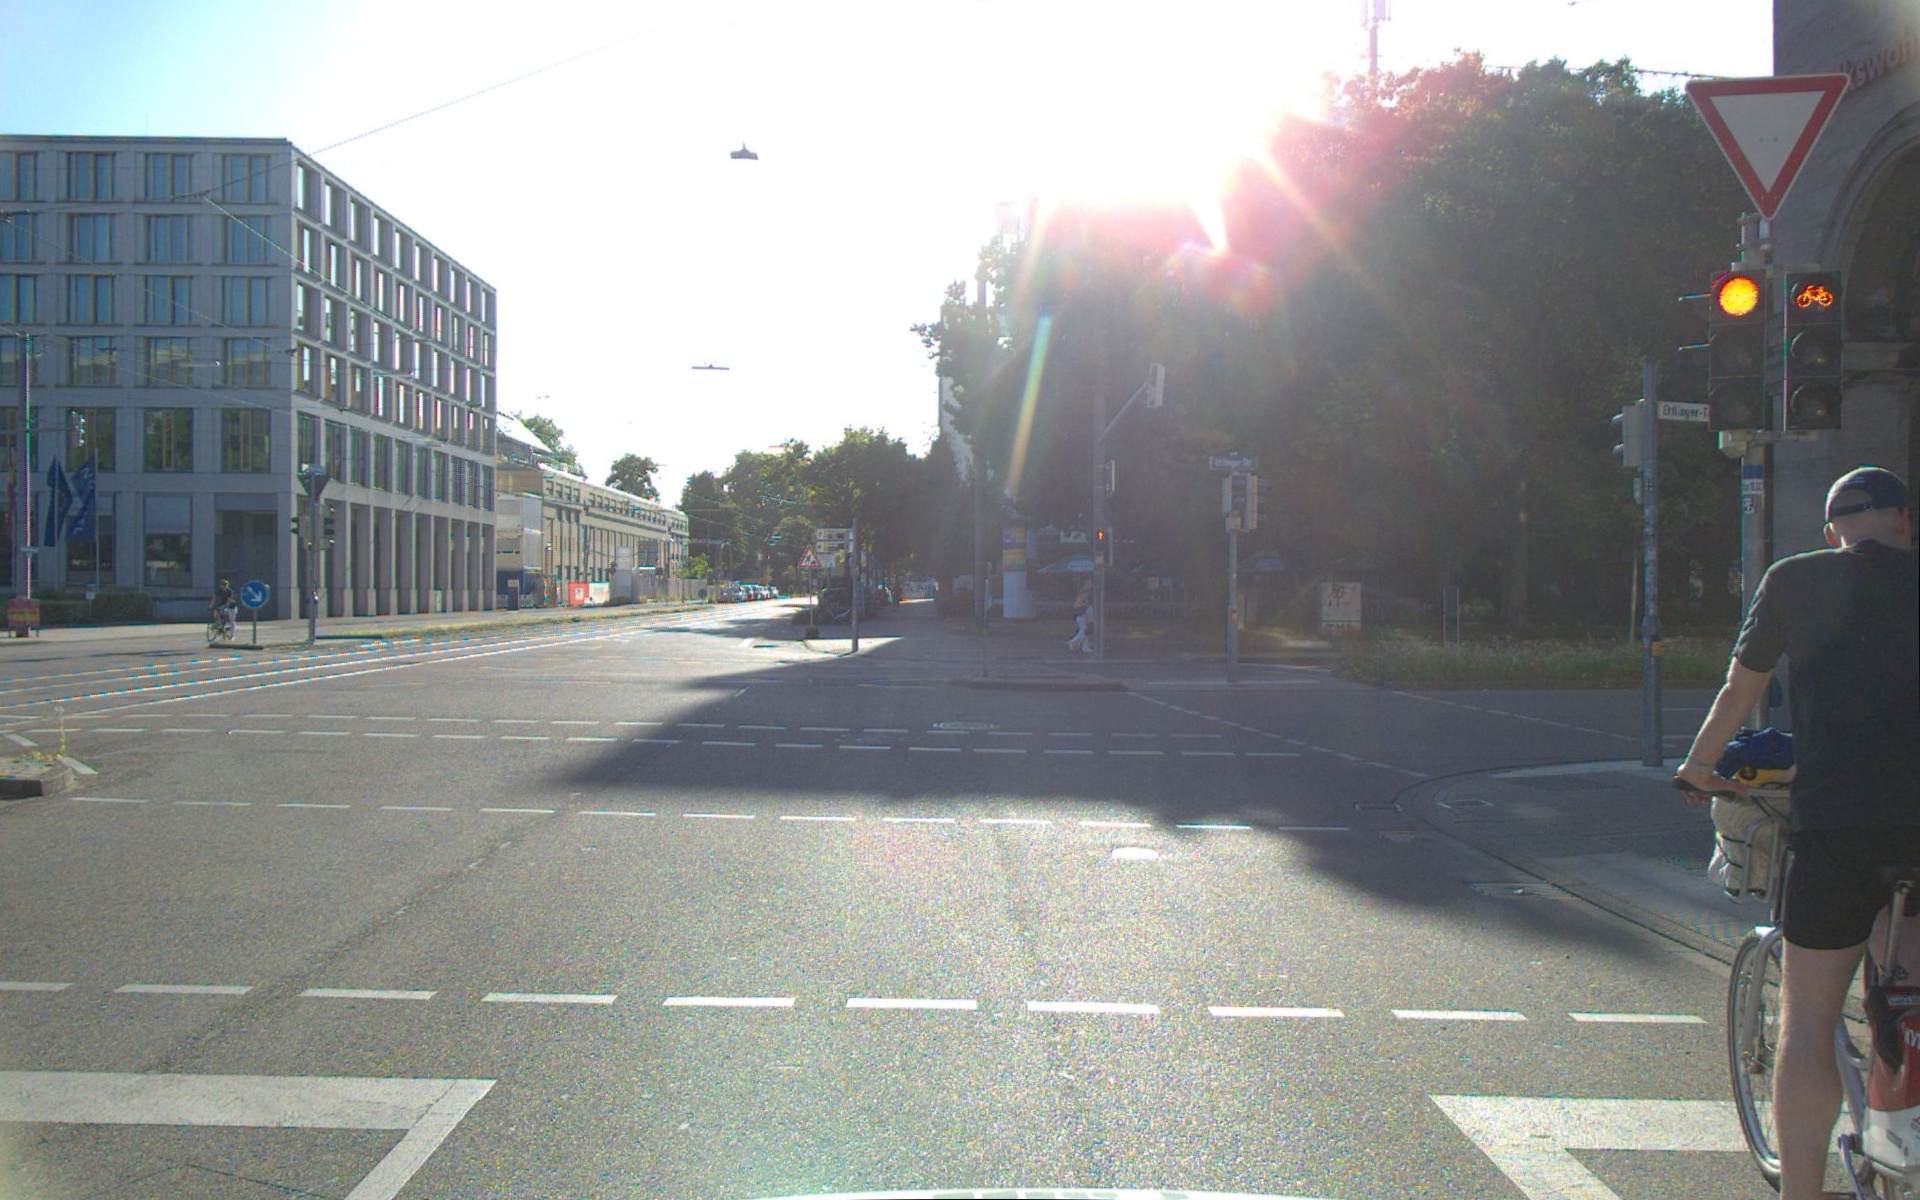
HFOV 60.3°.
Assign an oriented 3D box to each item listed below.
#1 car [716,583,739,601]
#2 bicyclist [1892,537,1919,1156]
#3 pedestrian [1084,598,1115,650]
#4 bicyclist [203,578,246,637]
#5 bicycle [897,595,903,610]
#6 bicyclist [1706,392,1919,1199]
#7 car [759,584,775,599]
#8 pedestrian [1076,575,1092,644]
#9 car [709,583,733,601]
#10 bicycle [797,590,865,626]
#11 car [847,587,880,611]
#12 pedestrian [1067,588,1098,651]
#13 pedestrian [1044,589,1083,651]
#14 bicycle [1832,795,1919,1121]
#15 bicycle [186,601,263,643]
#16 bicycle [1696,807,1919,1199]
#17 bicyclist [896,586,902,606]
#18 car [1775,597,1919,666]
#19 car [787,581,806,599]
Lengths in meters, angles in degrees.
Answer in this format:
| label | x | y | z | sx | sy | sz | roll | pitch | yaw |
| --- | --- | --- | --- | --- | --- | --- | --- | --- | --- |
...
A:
| label | x | y | z | sx | sy | sz | roll | pitch | yaw |
| --- | --- | --- | --- | --- | --- | --- | --- | --- | --- |
| car | -22.462 | -0.786 | 159.743 | 1.695 | 1.682 | 3.999 | 0 | 0 | -1 |
| bicyclist | 2.891 | 0.680 | 4.260 | 0.511 | 1.709 | 0.859 | 0 | 0 | 2 |
| pedestrian | 3.631 | 0.624 | 43.156 | 0.737 | 1.356 | 0.742 | 0 | 0 | -1 |
| bicyclist | -21.051 | 0.212 | 47.371 | 0.857 | 1.670 | 0.822 | 0 | 0 | 0 |
| bicycle | -3.592 | 0.130 | 98.470 | 0.317 | 0.883 | 1.483 | 0 | 0 | -1 |
| bicyclist | 2.124 | 0.426 | 3.696 | 0.655 | 1.707 | 0.657 | 0 | 0 | 6 |
| car | -22.644 | -0.998 | 193.986 | 1.453 | 1.780 | 3.999 | 0 | 0 | -1 |
| pedestrian | 3.326 | 0.253 | 44.339 | 0.353 | 1.836 | 0.507 | 0 | 0 | 11 |
| car | -22.486 | -0.727 | 155.641 | 1.695 | 1.682 | 3.999 | 0 | 0 | -1 |
| bicycle | -5.228 | 0.325 | 67.042 | 2.688 | 1.391 | 0.631 | 1 | -1 | 10 |
| car | -5.379 | -0.071 | 92.311 | 1.783 | 1.301 | 3.998 | 0 | 0 | -3 |
| pedestrian | 3.246 | 0.518 | 43.829 | 0.779 | 1.668 | 0.533 | 0 | 0 | 2 |
| pedestrian | 2.703 | 0.522 | 43.174 | 0.964 | 1.615 | 0.660 | 0 | -1 | 1 |
| bicycle | 3.005 | 1.083 | 4.379 | 0.418 | 0.891 | 1.951 | 0 | 0 | 2 |
| bicycle | -21.038 | 0.613 | 47.401 | 0.857 | 1.140 | 3.013 | 0 | 0 | 0 |
| bicycle | 2.238 | 1.077 | 3.900 | 0.381 | 0.921 | 1.952 | 0 | 0 | 8 |
| bicyclist | -3.609 | -0.246 | 98.312 | 0.311 | 1.147 | 0.291 | 0 | 0 | 5 |
| car | 19.186 | 0.623 | 33.646 | 4.350 | 1.352 | 1.777 | 0 | 0 | 2 |
| car | -19.656 | -1.199 | 199.027 | 1.953 | 2.049 | 3.999 | 1 | 0 | -1 |
